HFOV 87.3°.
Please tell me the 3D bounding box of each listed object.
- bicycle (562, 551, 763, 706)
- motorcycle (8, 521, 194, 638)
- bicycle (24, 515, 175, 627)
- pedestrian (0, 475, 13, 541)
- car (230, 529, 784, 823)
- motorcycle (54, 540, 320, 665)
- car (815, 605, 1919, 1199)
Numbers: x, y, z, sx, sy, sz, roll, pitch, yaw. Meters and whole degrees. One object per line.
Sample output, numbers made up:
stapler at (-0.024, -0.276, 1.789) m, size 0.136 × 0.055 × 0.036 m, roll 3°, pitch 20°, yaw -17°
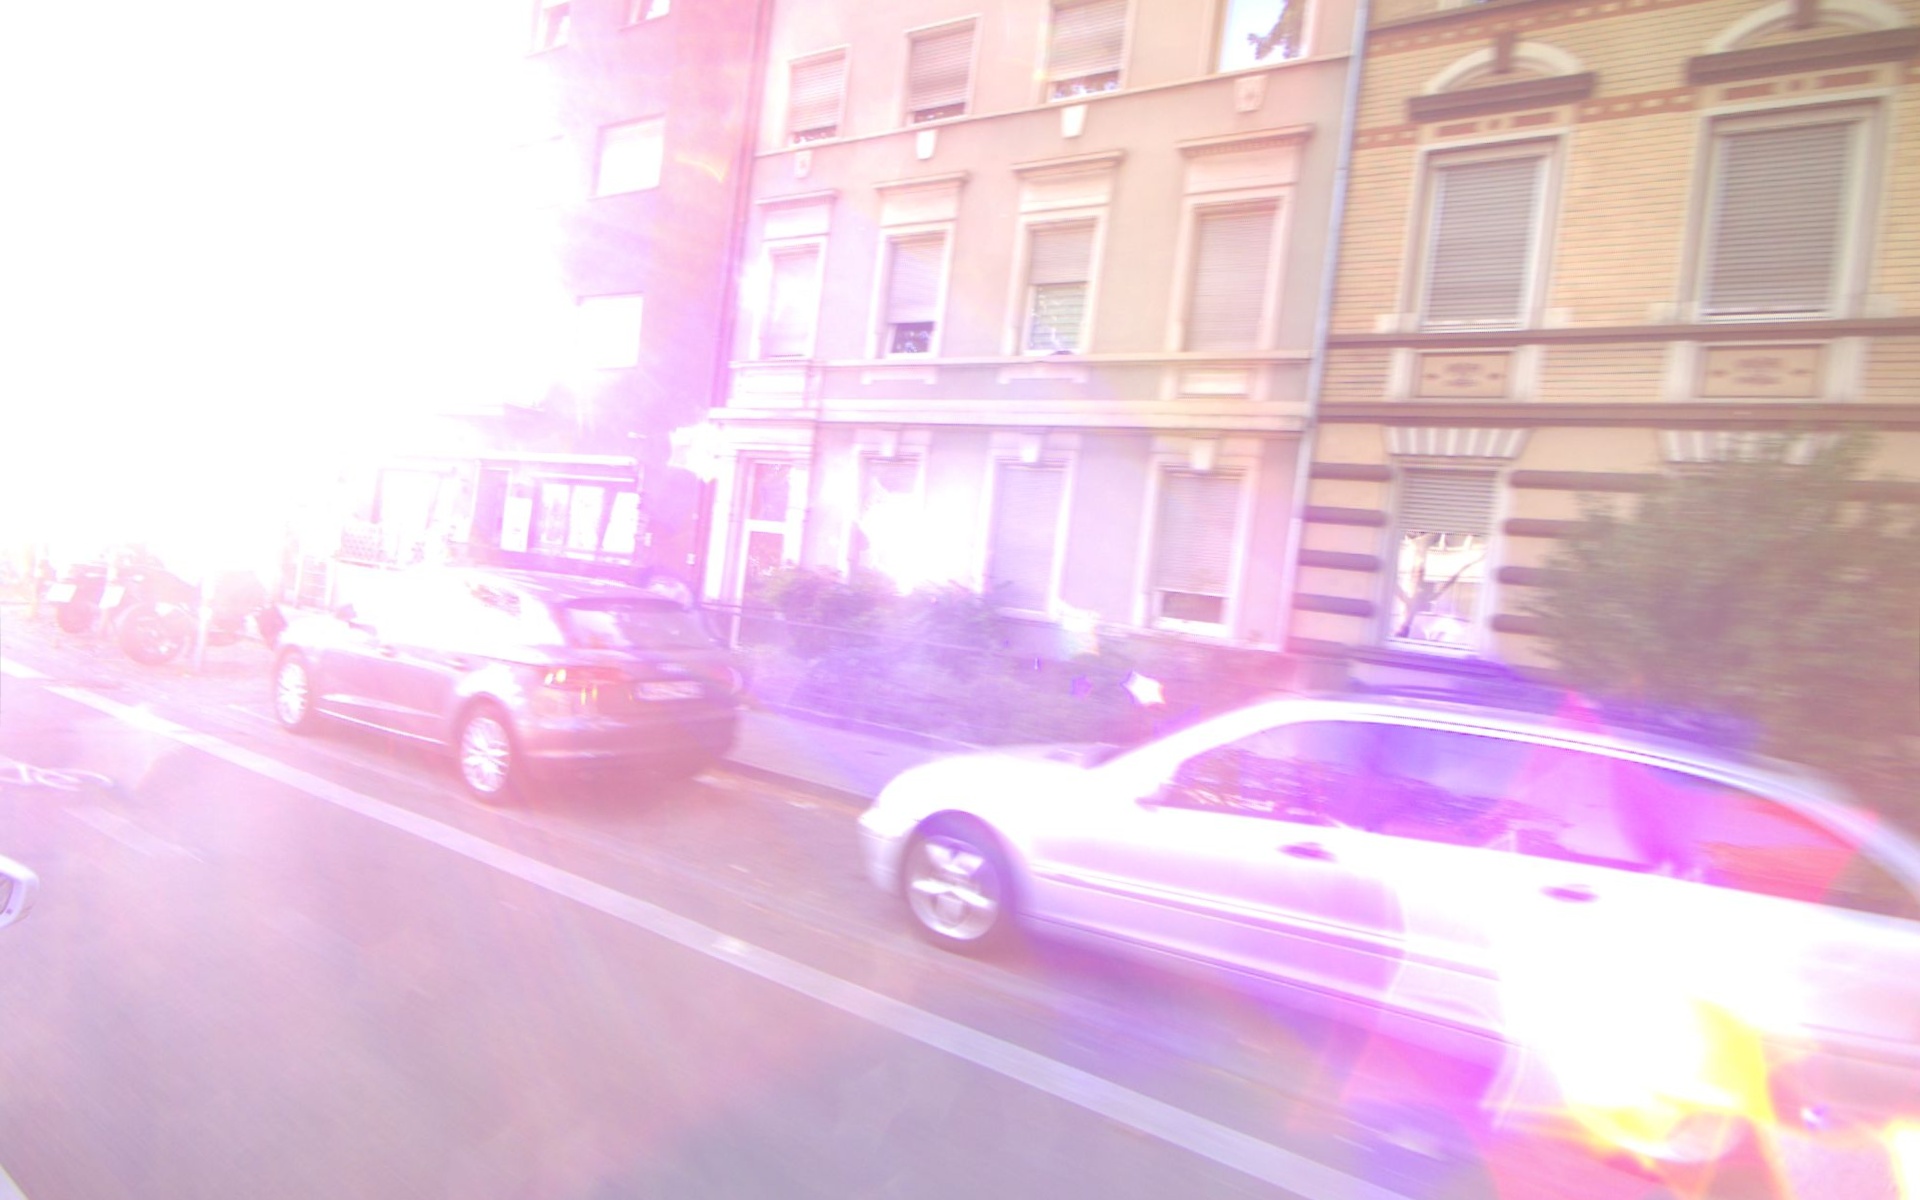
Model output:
bicycle at (-3.395, 0.287, 11.350) m, size 2.357 × 1.443 × 0.608 m, roll 7°, pitch -2°, yaw 33°
motorcycle at (-9.795, -0.223, 11.588) m, size 0.591 × 1.166 × 1.995 m, roll 7°, pitch 0°, yaw -10°
bicycle at (-10.730, -0.399, 12.628) m, size 0.686 × 1.219 × 1.838 m, roll 8°, pitch 2°, yaw -19°
pedestrian at (-27.052, -2.610, 28.028) m, size 0.676 × 1.792 × 0.680 m, roll 7°, pitch 1°, yaw 33°
car at (-3.567, 0.422, 7.645) m, size 4.251 × 1.414 × 1.712 m, roll 7°, pitch 0°, yaw 33°
motorcycle at (-7.952, 0.023, 10.527) m, size 0.752 × 1.076 × 2.212 m, roll 7°, pitch 1°, yaw 10°
car at (1.712, 1.057, 4.526) m, size 4.493 × 1.469 × 1.677 m, roll 7°, pitch 0°, yaw 30°
